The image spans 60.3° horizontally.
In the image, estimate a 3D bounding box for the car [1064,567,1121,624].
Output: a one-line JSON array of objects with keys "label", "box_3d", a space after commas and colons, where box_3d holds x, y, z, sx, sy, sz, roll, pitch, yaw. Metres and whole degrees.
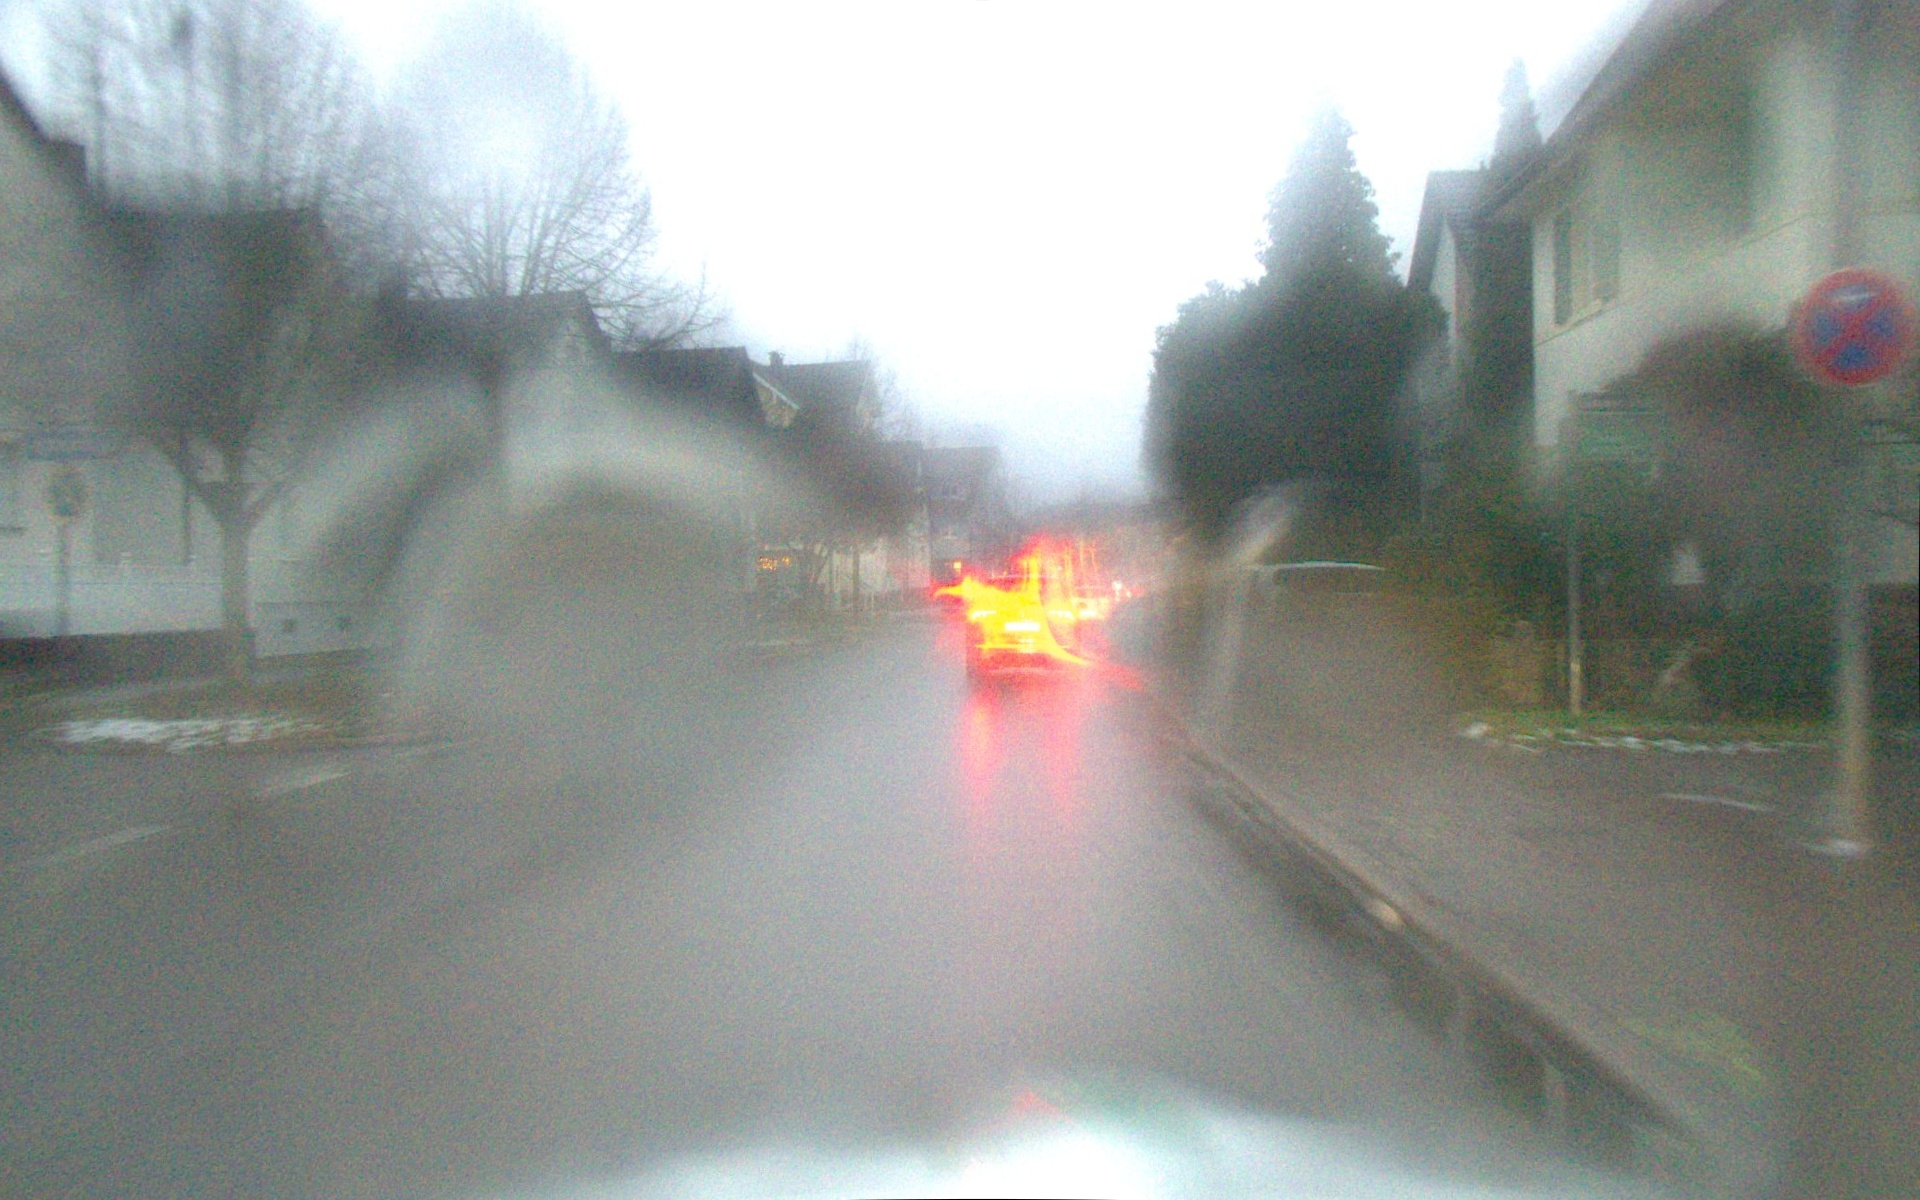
[{"label": "car", "box_3d": [4.956, -0.158, 61.420, 1.951, 2.049, 4.003, 0, 0, 7]}]

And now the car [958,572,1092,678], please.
[{"label": "car", "box_3d": [0.959, 0.351, 26.548, 1.953, 1.552, 4.000, 0, 1, -1]}]

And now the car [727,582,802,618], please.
[{"label": "car", "box_3d": [-7.738, -0.007, 65.779, 1.744, 1.390, 4.003, 0, 0, 12]}]

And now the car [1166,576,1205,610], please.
[{"label": "car", "box_3d": [10.794, -0.360, 78.969, 1.614, 1.567, 3.393, 1, 1, 12]}]

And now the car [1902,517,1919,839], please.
[{"label": "car", "box_3d": [5.628, 0.396, 5.870, 1.854, 1.581, 4.755, -1, 1, 0]}]

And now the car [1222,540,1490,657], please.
[{"label": "car", "box_3d": [6.975, -0.033, 29.485, 4.234, 1.762, 2.000, -3, 1, 0]}]
